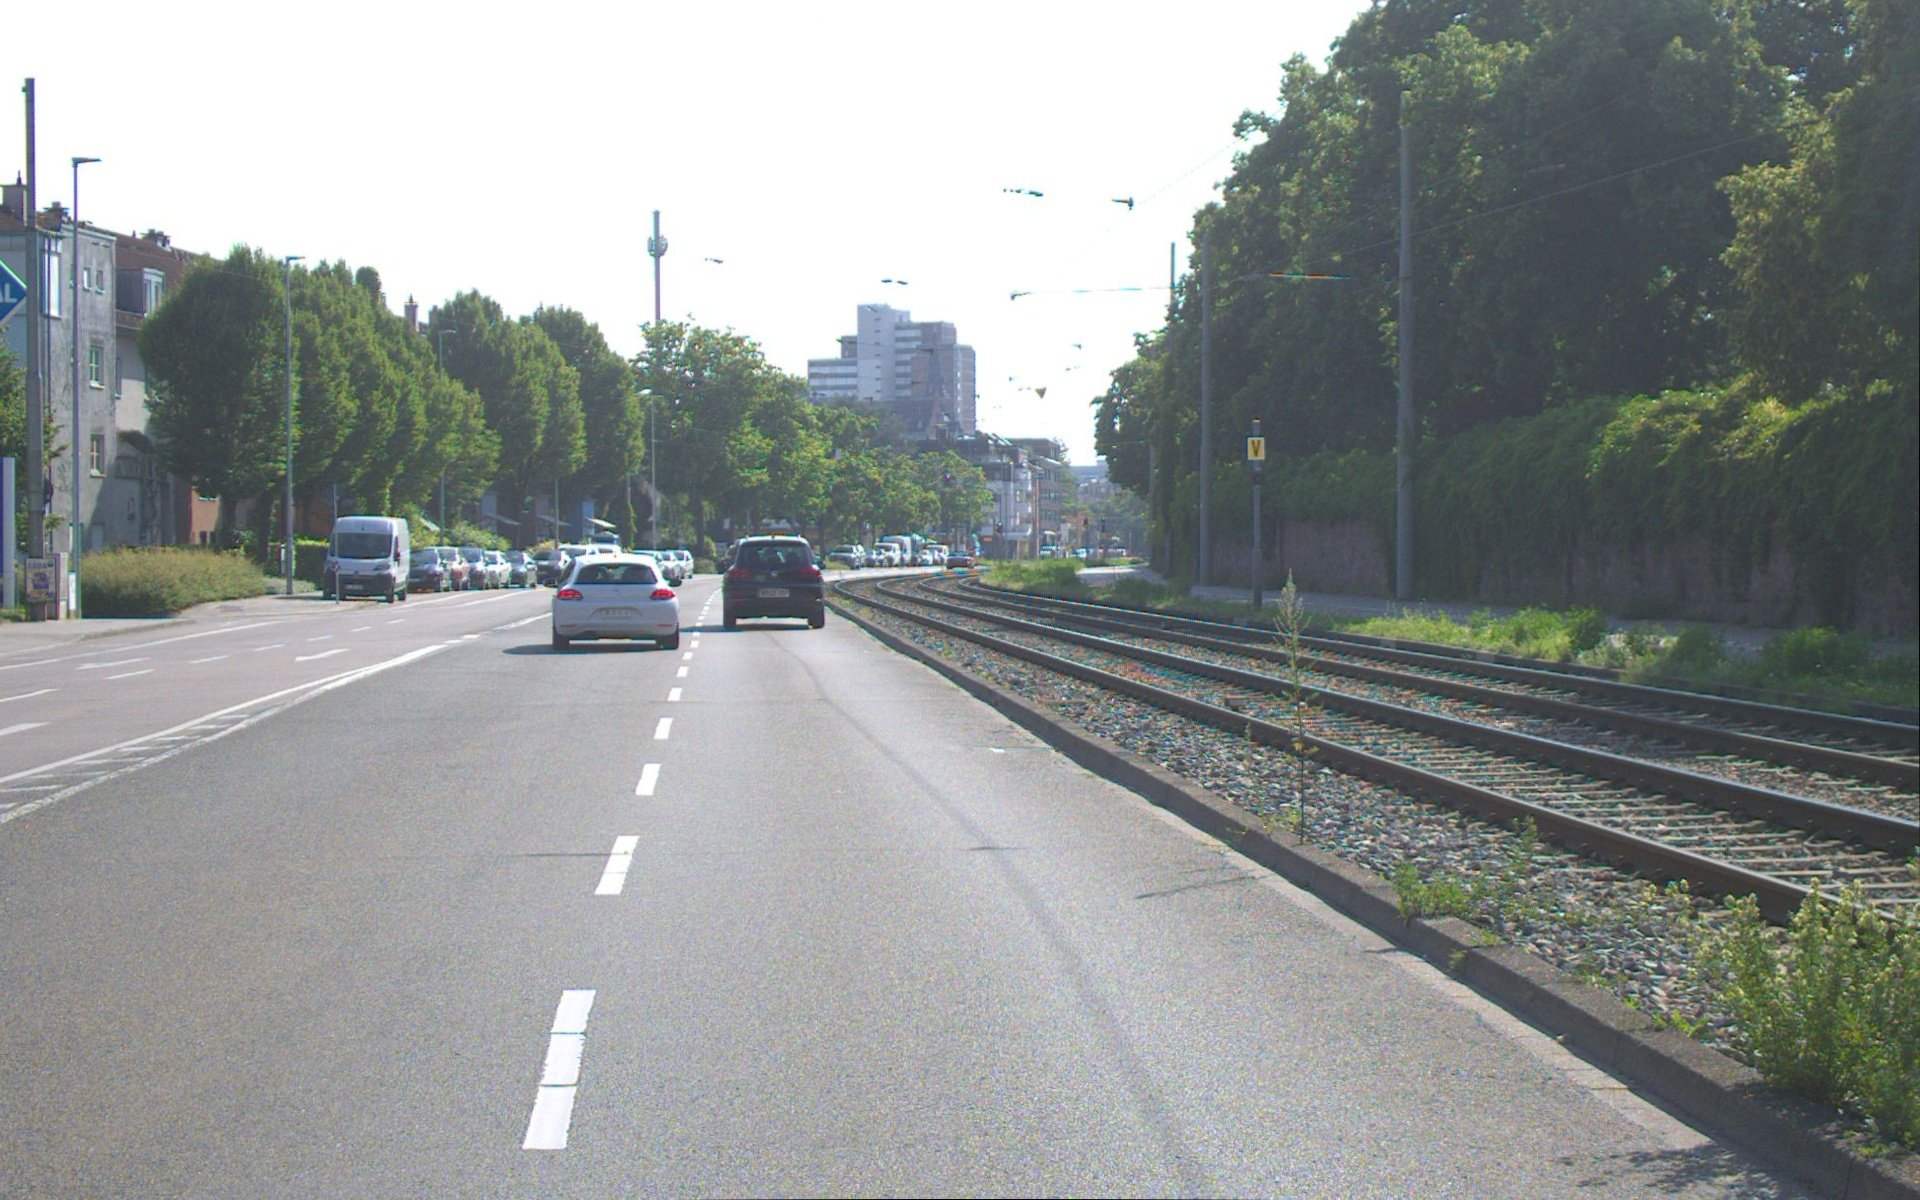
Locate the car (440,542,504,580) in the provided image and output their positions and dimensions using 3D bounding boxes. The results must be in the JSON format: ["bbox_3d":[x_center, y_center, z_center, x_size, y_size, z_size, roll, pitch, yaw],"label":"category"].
[{"bbox_3d":[-18.914,-1.525,133.373,1.993,1.411,3.844,-1,1,-2],"label":"car"}]

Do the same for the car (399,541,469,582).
[{"bbox_3d":[-18.721,-1.393,122.555,1.993,1.411,3.844,-1,1,-2],"label":"car"}]

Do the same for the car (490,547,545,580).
[{"bbox_3d":[-19.397,-1.610,150.910,1.993,1.411,3.844,-1,1,-2],"label":"car"}]

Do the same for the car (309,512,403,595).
[{"bbox_3d":[-17.783,-1.396,101.378,1.993,2.368,4.539,-1,1,-1],"label":"car"}]

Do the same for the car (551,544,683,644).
[{"bbox_3d":[-4.974,-0.115,50.178,1.780,1.351,3.602,1,1,-4],"label":"car"}]

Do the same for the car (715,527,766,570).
[{"bbox_3d":[-7.873,-1.853,122.939,1.748,1.480,3.602,1,1,-4],"label":"car"}]

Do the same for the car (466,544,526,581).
[{"bbox_3d":[-18.782,-1.524,139.226,1.993,1.411,3.844,-1,1,-2],"label":"car"}]

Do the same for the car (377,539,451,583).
[{"bbox_3d":[-18.562,-1.336,116.999,1.993,1.411,3.844,-1,1,-2],"label":"car"}]

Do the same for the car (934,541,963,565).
[{"bbox_3d":[-0.764,-3.108,226.692,1.724,1.587,3.601,1,1,2],"label":"car"}]

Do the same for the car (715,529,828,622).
[{"bbox_3d":[-3.435,-0.467,62.147,1.724,1.587,3.602,1,1,-8],"label":"car"}]
